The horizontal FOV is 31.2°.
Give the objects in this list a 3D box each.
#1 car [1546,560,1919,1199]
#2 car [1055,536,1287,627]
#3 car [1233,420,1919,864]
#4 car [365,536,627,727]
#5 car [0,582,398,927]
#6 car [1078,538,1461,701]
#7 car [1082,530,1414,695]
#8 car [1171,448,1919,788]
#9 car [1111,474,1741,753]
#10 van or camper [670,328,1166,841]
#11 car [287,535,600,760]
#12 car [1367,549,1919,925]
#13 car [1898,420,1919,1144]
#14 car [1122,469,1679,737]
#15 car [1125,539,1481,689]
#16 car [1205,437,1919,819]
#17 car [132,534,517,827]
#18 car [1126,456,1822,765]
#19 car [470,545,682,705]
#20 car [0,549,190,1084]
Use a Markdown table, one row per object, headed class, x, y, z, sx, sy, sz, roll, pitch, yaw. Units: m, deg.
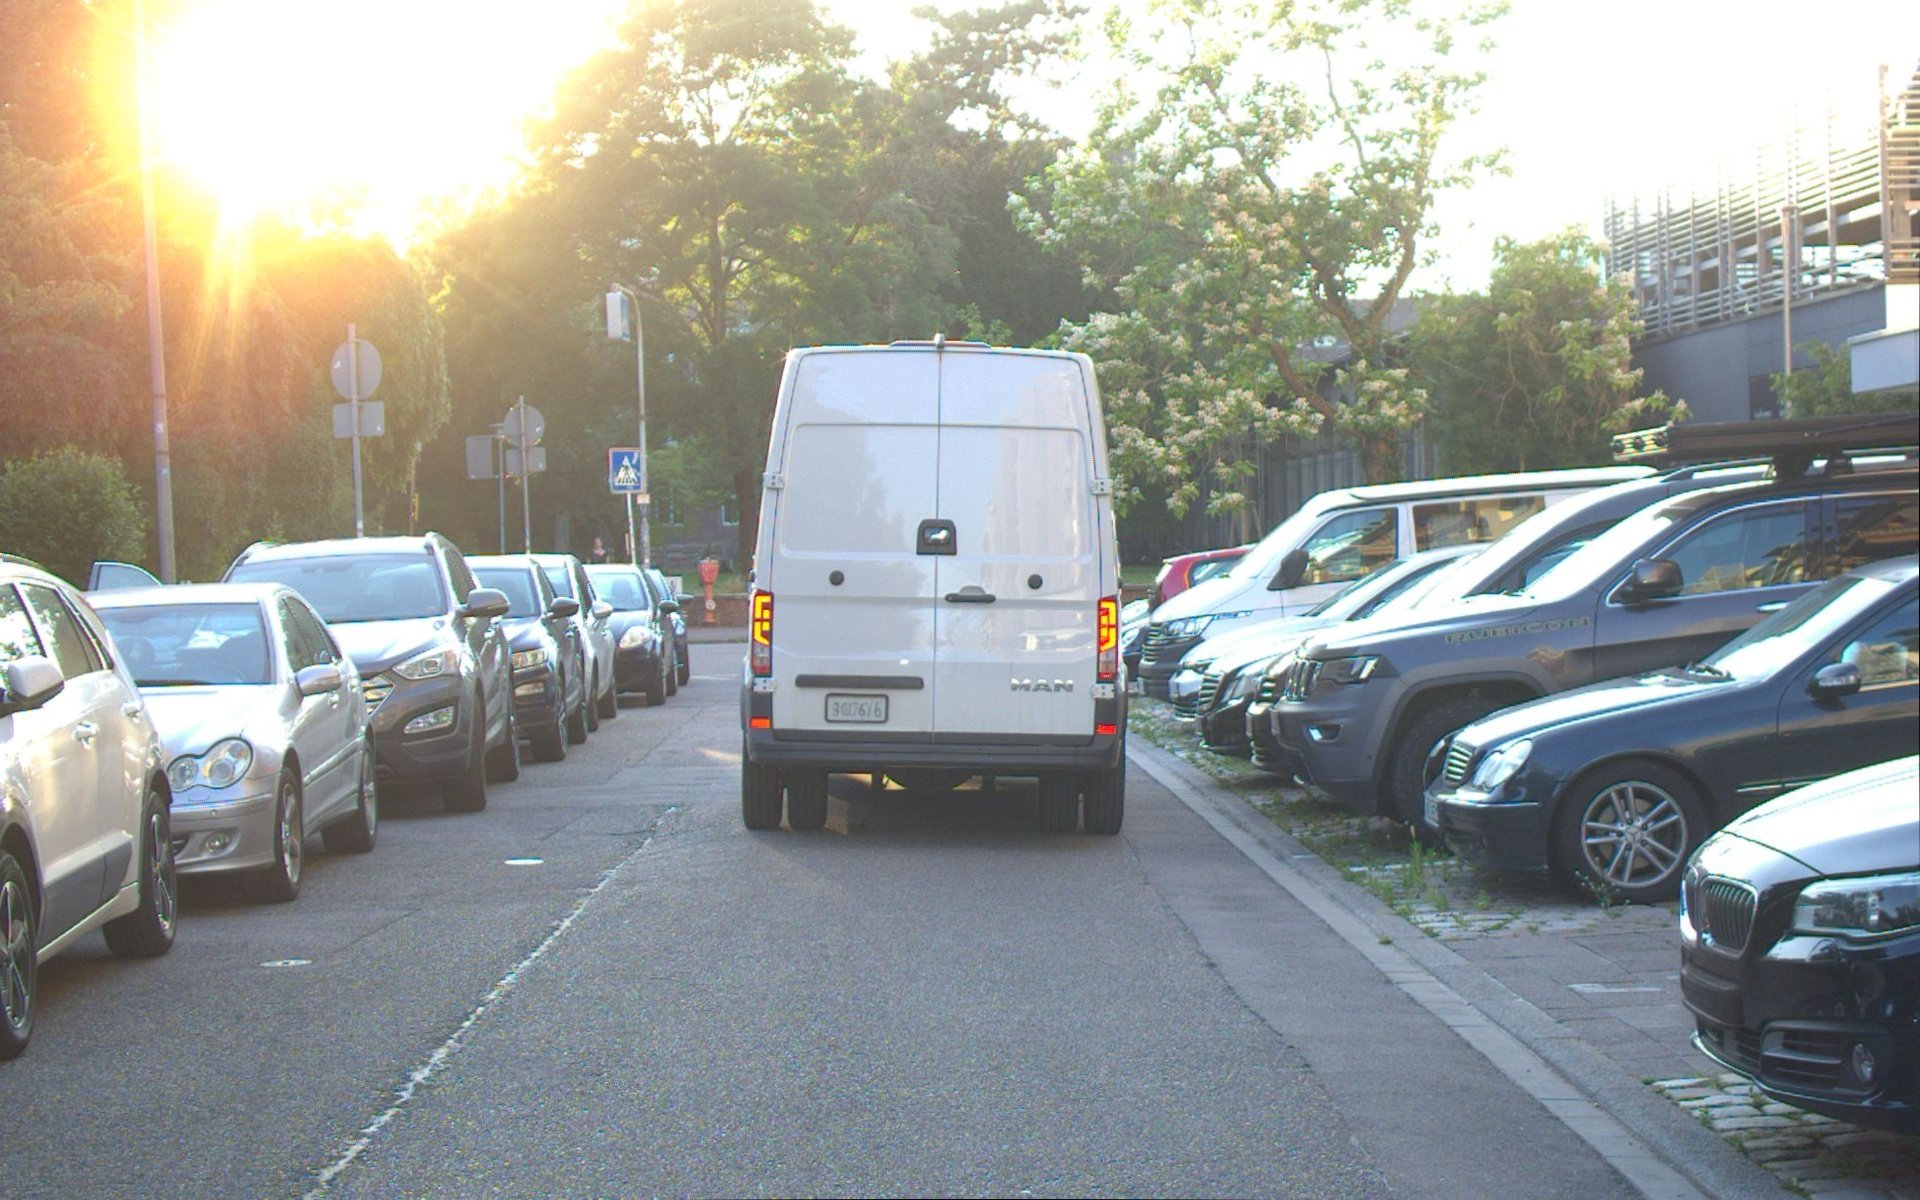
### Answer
| class | x | y | z | sx | sy | sz | roll | pitch | yaw |
| --- | --- | --- | --- | --- | --- | --- | --- | --- | --- |
| car | 3.667 | 0.567 | 8.433 | 3.986 | 1.449 | 1.836 | -4 | 1 | -5 |
| car | 3.825 | -0.354 | 62.791 | 3.986 | 1.612 | 2.000 | 0 | 1 | -4 |
| car | 3.864 | 0.179 | 17.634 | 4.705 | 2.138 | 2.000 | 0 | 1 | -2 |
| car | -4.117 | 0.232 | 31.084 | 1.993 | 1.612 | 4.001 | 0 | 1 | -3 |
| car | -3.958 | 0.639 | 16.370 | 1.993 | 1.393 | 4.000 | 0 | 1 | -1 |
| car | 3.323 | 0.188 | 37.475 | 3.987 | 1.722 | 2.000 | 0 | 1 | 0 |
| car | 3.539 | 0.138 | 42.837 | 3.987 | 2.007 | 2.000 | 0 | 1 | 1 |
| car | 3.844 | 0.092 | 22.744 | 4.705 | 2.138 | 2.000 | 0 | 1 | -2 |
| car | 3.633 | 0.082 | 27.421 | 4.705 | 2.138 | 2.000 | 0 | 1 | -2 |
| van or camper | -0.127 | -0.130 | 20.277 | 2.454 | 2.538 | 6.083 | 1 | 1 | 2 |
| car | -3.930 | 0.307 | 26.774 | 1.993 | 1.612 | 4.001 | 0 | 1 | -3 |
| car | 4.034 | 0.509 | 14.965 | 4.236 | 1.420 | 1.719 | -3 | 1 | -1 |
| car | 4.091 | 0.457 | 5.831 | 4.433 | 1.722 | 1.773 | -2 | 1 | -7 |
| car | 3.716 | 0.007 | 29.606 | 4.495 | 2.223 | 2.032 | 0 | 1 | -1 |
| car | 3.988 | 0.146 | 40.519 | 3.987 | 1.722 | 2.000 | 0 | 1 | 0 |
| car | 3.901 | 0.134 | 20.317 | 4.705 | 2.138 | 2.000 | 0 | 1 | -2 |
| car | -3.870 | 0.421 | 21.567 | 1.993 | 1.656 | 4.001 | 0 | 1 | -5 |
| car | 3.639 | 0.051 | 24.974 | 4.705 | 2.138 | 2.000 | 0 | 1 | -2 |
| car | -4.049 | 0.224 | 36.806 | 1.993 | 1.612 | 4.001 | 0 | 1 | -3 |
| car | -3.835 | 0.647 | 11.325 | 1.856 | 1.549 | 4.100 | -3 | 1 | -4 |
